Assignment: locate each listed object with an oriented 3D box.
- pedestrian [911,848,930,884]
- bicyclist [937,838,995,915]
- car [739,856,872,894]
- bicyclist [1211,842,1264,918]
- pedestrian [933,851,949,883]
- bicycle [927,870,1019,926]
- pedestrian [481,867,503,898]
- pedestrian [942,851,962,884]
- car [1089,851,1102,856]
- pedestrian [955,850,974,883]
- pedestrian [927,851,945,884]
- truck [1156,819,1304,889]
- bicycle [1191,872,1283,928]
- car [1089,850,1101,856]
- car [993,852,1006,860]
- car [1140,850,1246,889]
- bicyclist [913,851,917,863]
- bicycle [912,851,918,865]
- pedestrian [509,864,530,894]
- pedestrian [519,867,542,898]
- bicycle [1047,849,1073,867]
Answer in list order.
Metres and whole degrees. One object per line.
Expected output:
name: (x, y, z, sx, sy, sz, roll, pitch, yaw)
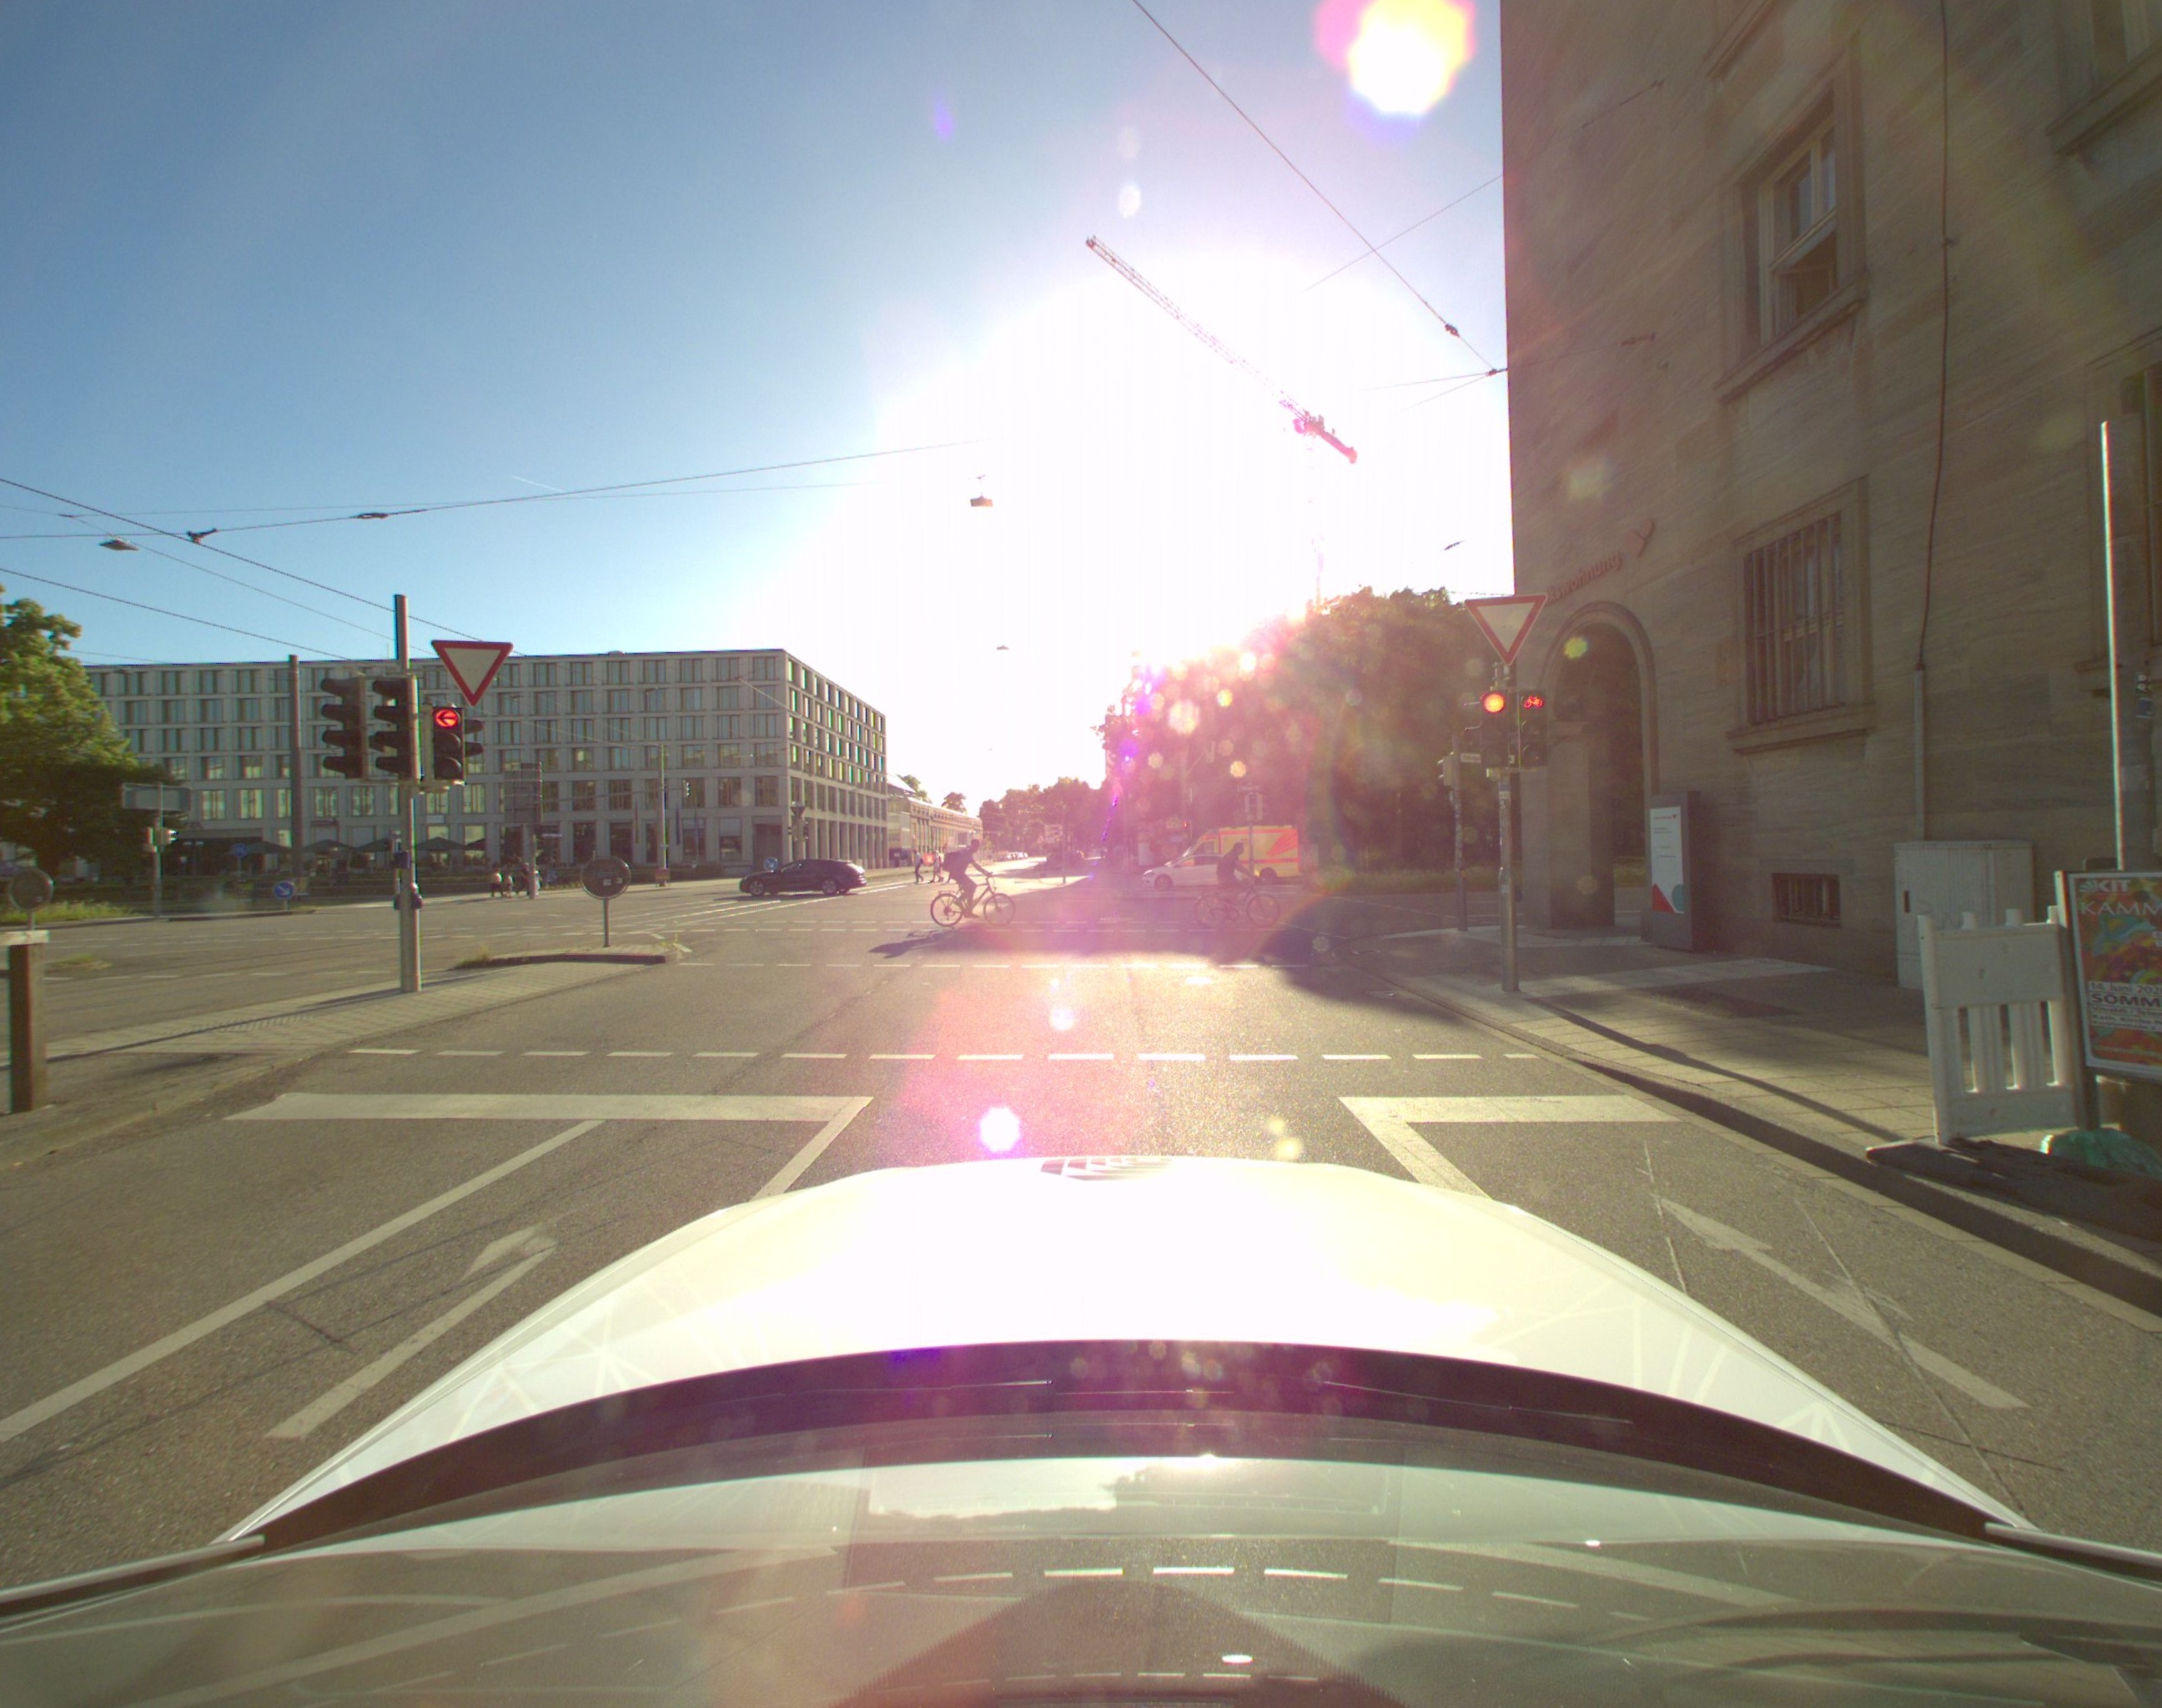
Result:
pedestrian: (-8.721, 0.664, 44.268, 0.797, 1.918, 0.638, -2, 0, 7)
bicyclist: (-2.449, 0.465, 17.447, 1.121, 1.594, 0.766, 0, 0, -2)
car: (-11.139, 0.863, 33.160, 4.721, 1.415, 1.999, -1, -2, -1)
bicyclist: (3.217, 0.524, 16.807, 0.997, 1.512, 0.768, -1, 2, 5)
pedestrian: (-7.990, 0.719, 46.558, 0.735, 1.803, 0.533, -2, 0, 7)
bicycle: (-2.291, 0.929, 17.435, 1.868, 1.158, 0.766, 0, 0, -2)
pedestrian: (-32.232, 1.557, 44.560, 0.690, 1.644, 0.623, -2, 0, 9)
pedestrian: (-7.131, 0.726, 44.935, 0.865, 1.803, 0.665, -2, 0, 7)
car: (3.792, -0.165, 211.388, 3.208, 1.263, 1.373, 0, -1, -1)
pedestrian: (-6.550, 0.689, 45.822, 0.865, 1.803, 0.533, -2, 0, 7)
pedestrian: (-8.134, 0.738, 45.763, 0.735, 1.803, 0.717, -2, 0, 7)
truck: (6.874, -0.015, 38.359, 6.446, 3.016, 2.725, -1, 0, 0)
bicycle: (3.201, 0.941, 16.819, 1.804, 1.085, 0.768, -1, 2, 5)
car: (3.656, -0.339, 213.648, 3.207, 1.588, 1.445, 0, -1, -3)
car: (-15.659, 0.401, 156.973, 1.888, 1.607, 4.499, -2, 0, 0)
car: (4.487, 0.621, 32.951, 4.030, 1.434, 1.631, -2, 0, -1)
bicyclist: (-26.700, 0.497, 131.024, 0.569, 2.024, 0.762, -2, 0, 0)
bicycle: (-26.690, 0.611, 131.170, 0.569, 2.296, 1.422, -2, 0, 0)
pedestrian: (-31.407, 1.369, 45.580, 0.692, 1.644, 0.621, -2, 0, -3)
pedestrian: (-30.282, 1.566, 44.803, 0.790, 1.644, 0.621, -2, 0, -3)
bicycle: (-2.123, 0.380, 81.695, 2.538, 1.743, 1.038, 0, -1, 1)
